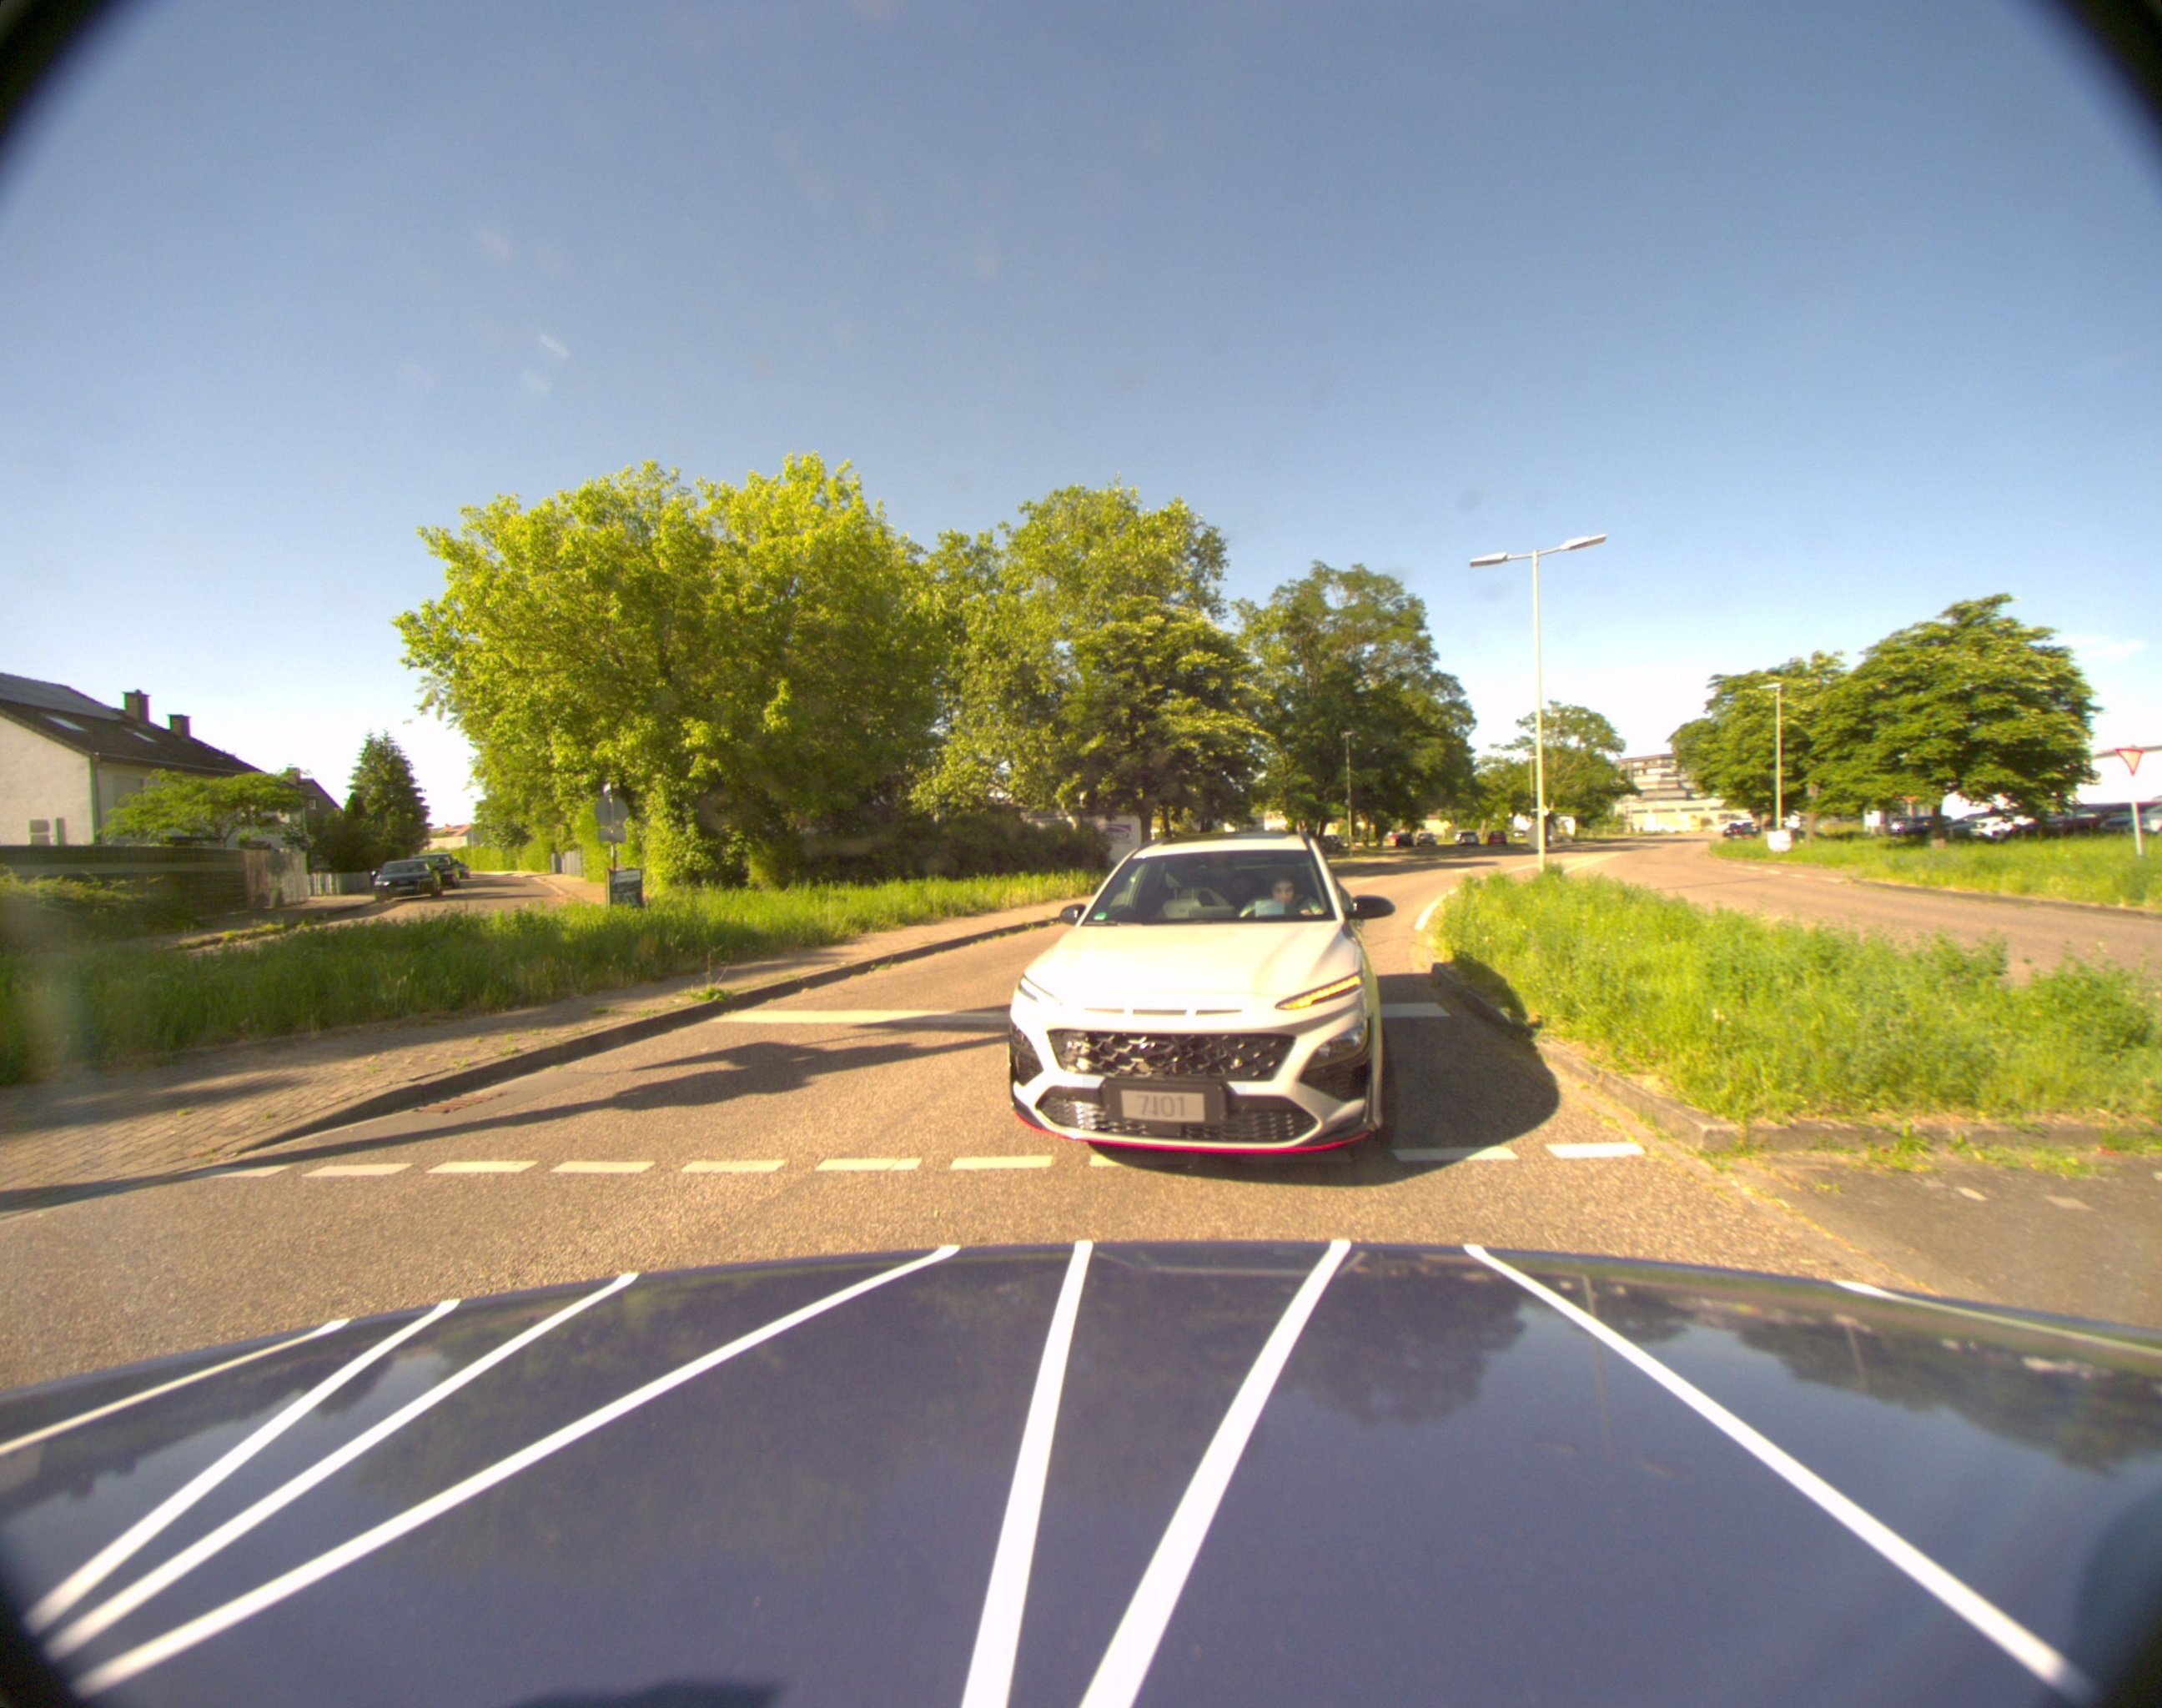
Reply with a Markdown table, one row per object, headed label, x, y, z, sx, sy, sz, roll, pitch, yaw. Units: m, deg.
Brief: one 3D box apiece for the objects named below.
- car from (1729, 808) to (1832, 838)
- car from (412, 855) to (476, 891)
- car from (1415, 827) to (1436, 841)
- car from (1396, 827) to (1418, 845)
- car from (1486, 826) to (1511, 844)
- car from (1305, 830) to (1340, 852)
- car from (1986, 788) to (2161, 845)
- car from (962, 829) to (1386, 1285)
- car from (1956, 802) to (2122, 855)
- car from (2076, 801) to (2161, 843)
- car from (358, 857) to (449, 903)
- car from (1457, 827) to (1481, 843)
| label | x | y | z | sx | sy | sz | roll | pitch | yaw |
| --- | --- | --- | --- | --- | --- | --- | --- | --- | --- |
| car | 39.653 | -1.741 | 43.200 | 3.989 | 1.521 | 1.932 | -1 | 1 | 30 |
| car | -33.402 | 0.936 | 39.965 | 1.966 | 1.657 | 3.990 | -5 | 3 | -33 |
| car | 36.469 | -2.123 | 80.326 | 1.867 | 1.432 | 3.488 | 1 | 3 | 27 |
| car | 32.448 | -1.804 | 75.538 | 1.733 | 1.610 | 4.006 | 1 | 3 | 27 |
| car | 39.748 | -1.832 | 72.420 | 1.995 | 1.657 | 4.006 | 1 | 3 | 27 |
| car | 21.137 | -1.164 | 66.533 | 2.005 | 1.786 | 4.006 | -2 | 2 | 31 |
| car | 39.276 | -1.447 | 30.081 | 3.992 | 2.002 | 2.002 | -2 | 1 | 16 |
| car | 0.966 | 0.721 | 5.022 | 1.712 | 1.637 | 4.058 | -1 | 3 | 19 |
| car | 40.718 | -1.078 | 32.412 | 3.992 | 2.002 | 2.002 | -2 | 2 | 16 |
| car | 38.901 | -1.200 | 26.967 | 3.991 | 1.400 | 1.841 | -2 | 1 | 20 |
| car | -26.620 | 0.963 | 30.000 | 2.003 | 1.547 | 3.990 | -4 | 2 | -33 |
| car | 37.614 | -1.868 | 73.733 | 1.995 | 1.442 | 4.006 | 1 | 3 | 27 |
